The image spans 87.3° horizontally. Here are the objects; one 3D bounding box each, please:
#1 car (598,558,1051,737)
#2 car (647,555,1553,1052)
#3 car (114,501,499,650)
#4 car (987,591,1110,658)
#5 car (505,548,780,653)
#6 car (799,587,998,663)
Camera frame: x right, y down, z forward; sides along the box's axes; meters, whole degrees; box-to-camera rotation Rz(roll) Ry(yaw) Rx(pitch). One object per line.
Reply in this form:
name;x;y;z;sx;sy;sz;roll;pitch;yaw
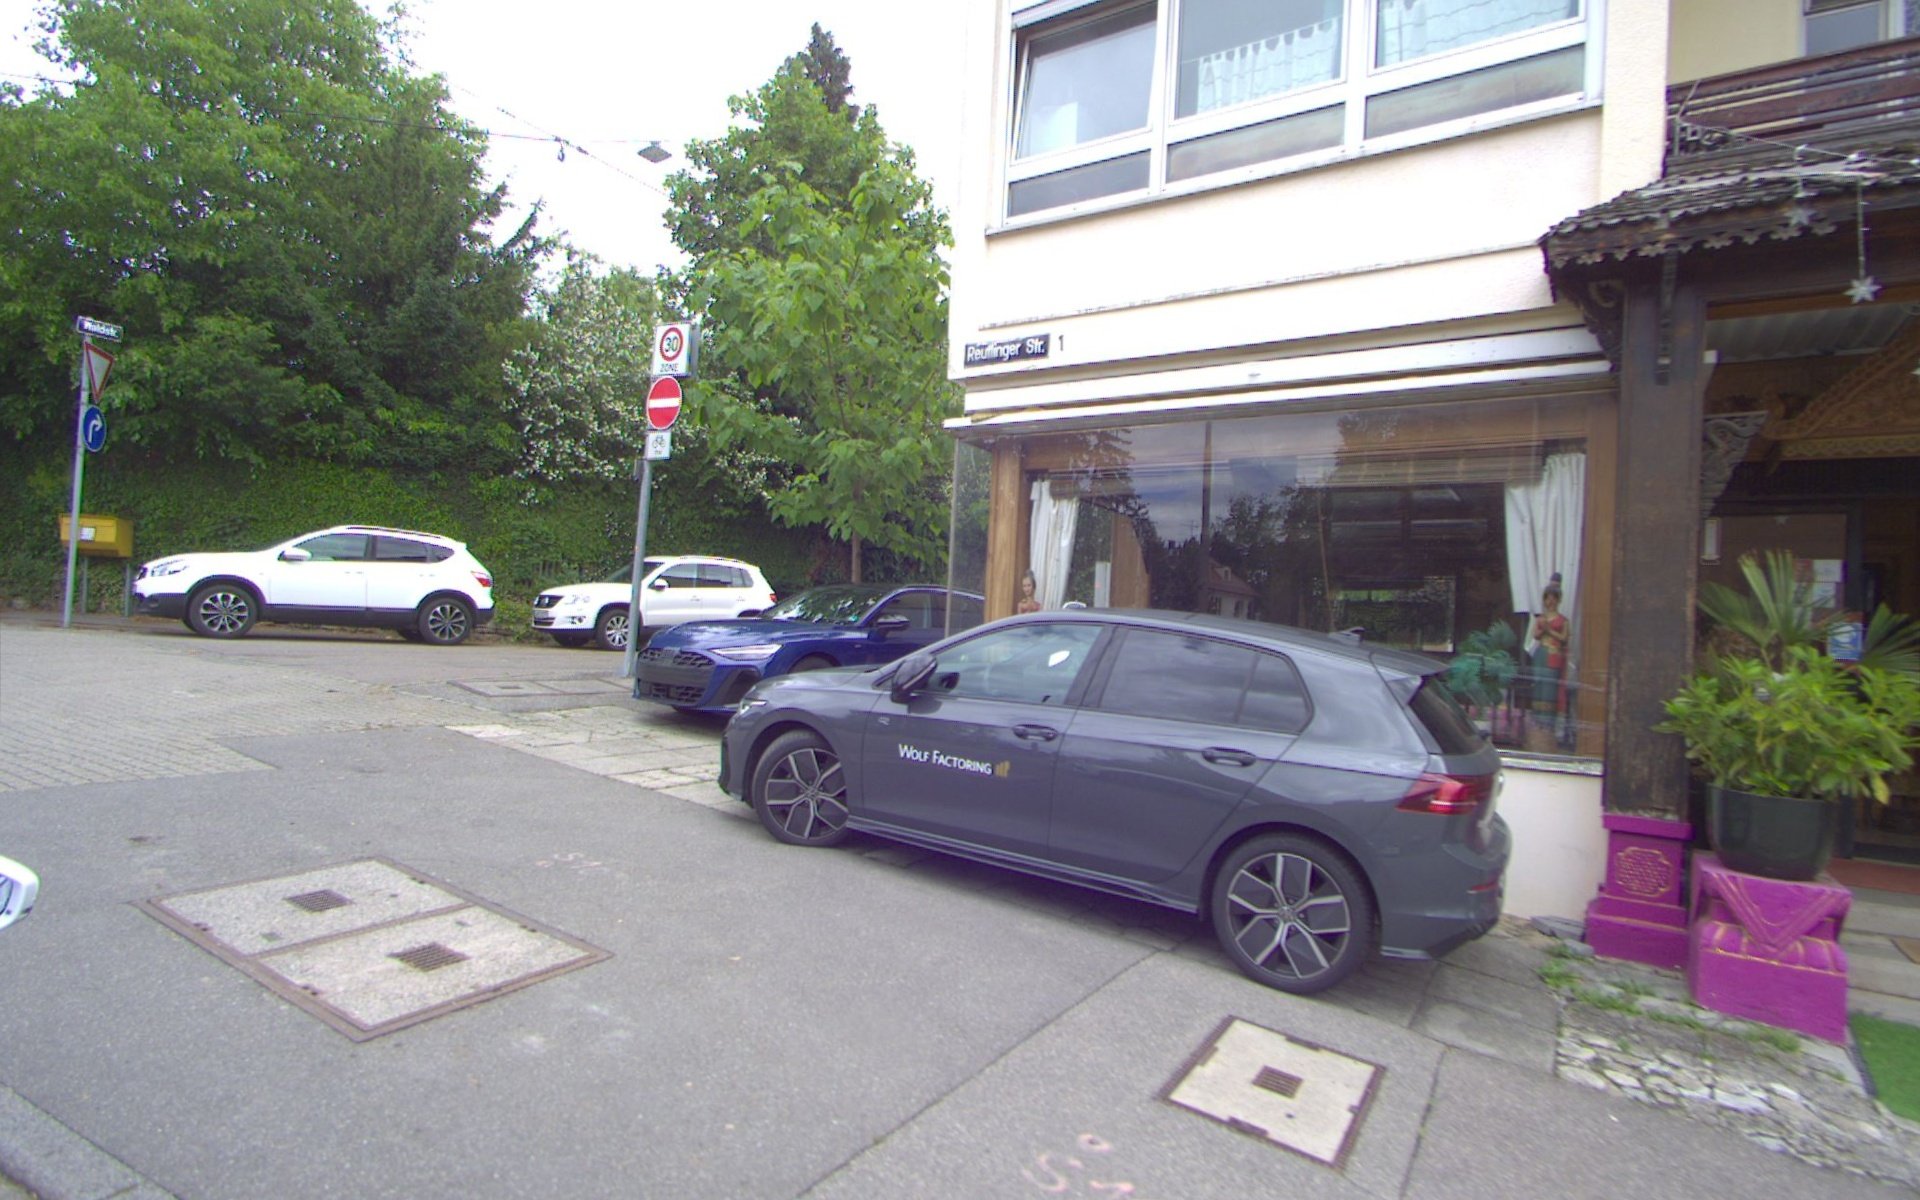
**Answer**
car;-1.111;0.472;10.213;1.810;1.343;4.490;5;0;39
car;0.594;0.701;5.433;4.311;1.492;1.849;6;2;29
car;-9.035;-0.236;14.120;4.224;1.612;1.966;5;-2;-43
car;2.404;0.676;26.949;1.842;1.550;2.905;5;0;41
car;-5.400;0.058;17.476;1.973;1.485;4.051;5;0;41
car;-1.248;0.617;22.084;1.974;1.462;4.275;-1;-4;40
